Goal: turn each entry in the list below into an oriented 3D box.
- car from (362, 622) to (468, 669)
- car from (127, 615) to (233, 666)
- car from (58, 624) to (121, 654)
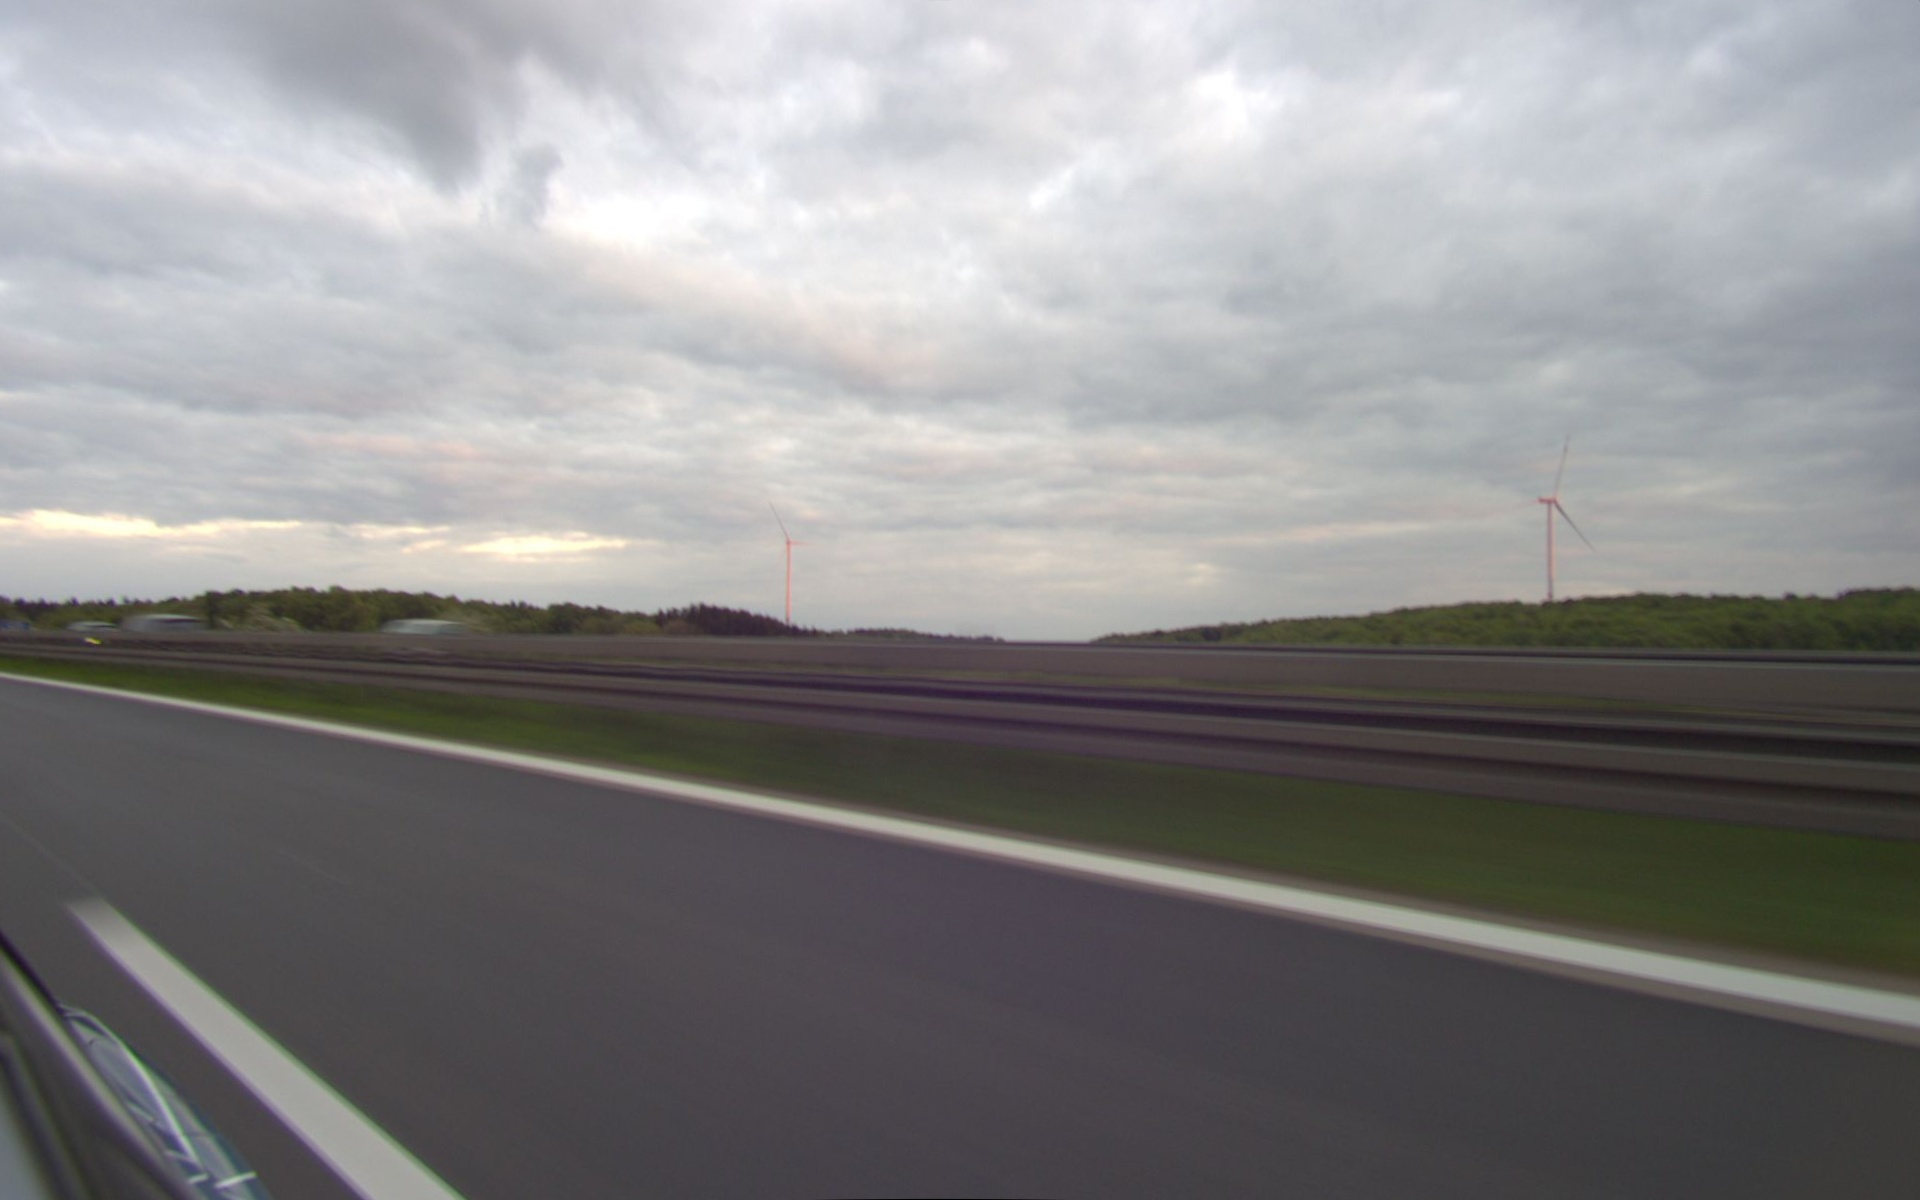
[{"bbox_3d":[-17.868,1.472,33.109,3.995,1.429,1.637,-2,-2,39],"label":"car"},{"bbox_3d":[-28.660,1.434,37.145,4.763,1.740,1.975,-1,-1,38],"label":"car"},{"bbox_3d":[-45.068,2.038,52.396,3.992,1.495,1.594,-2,-3,36],"label":"car"}]
